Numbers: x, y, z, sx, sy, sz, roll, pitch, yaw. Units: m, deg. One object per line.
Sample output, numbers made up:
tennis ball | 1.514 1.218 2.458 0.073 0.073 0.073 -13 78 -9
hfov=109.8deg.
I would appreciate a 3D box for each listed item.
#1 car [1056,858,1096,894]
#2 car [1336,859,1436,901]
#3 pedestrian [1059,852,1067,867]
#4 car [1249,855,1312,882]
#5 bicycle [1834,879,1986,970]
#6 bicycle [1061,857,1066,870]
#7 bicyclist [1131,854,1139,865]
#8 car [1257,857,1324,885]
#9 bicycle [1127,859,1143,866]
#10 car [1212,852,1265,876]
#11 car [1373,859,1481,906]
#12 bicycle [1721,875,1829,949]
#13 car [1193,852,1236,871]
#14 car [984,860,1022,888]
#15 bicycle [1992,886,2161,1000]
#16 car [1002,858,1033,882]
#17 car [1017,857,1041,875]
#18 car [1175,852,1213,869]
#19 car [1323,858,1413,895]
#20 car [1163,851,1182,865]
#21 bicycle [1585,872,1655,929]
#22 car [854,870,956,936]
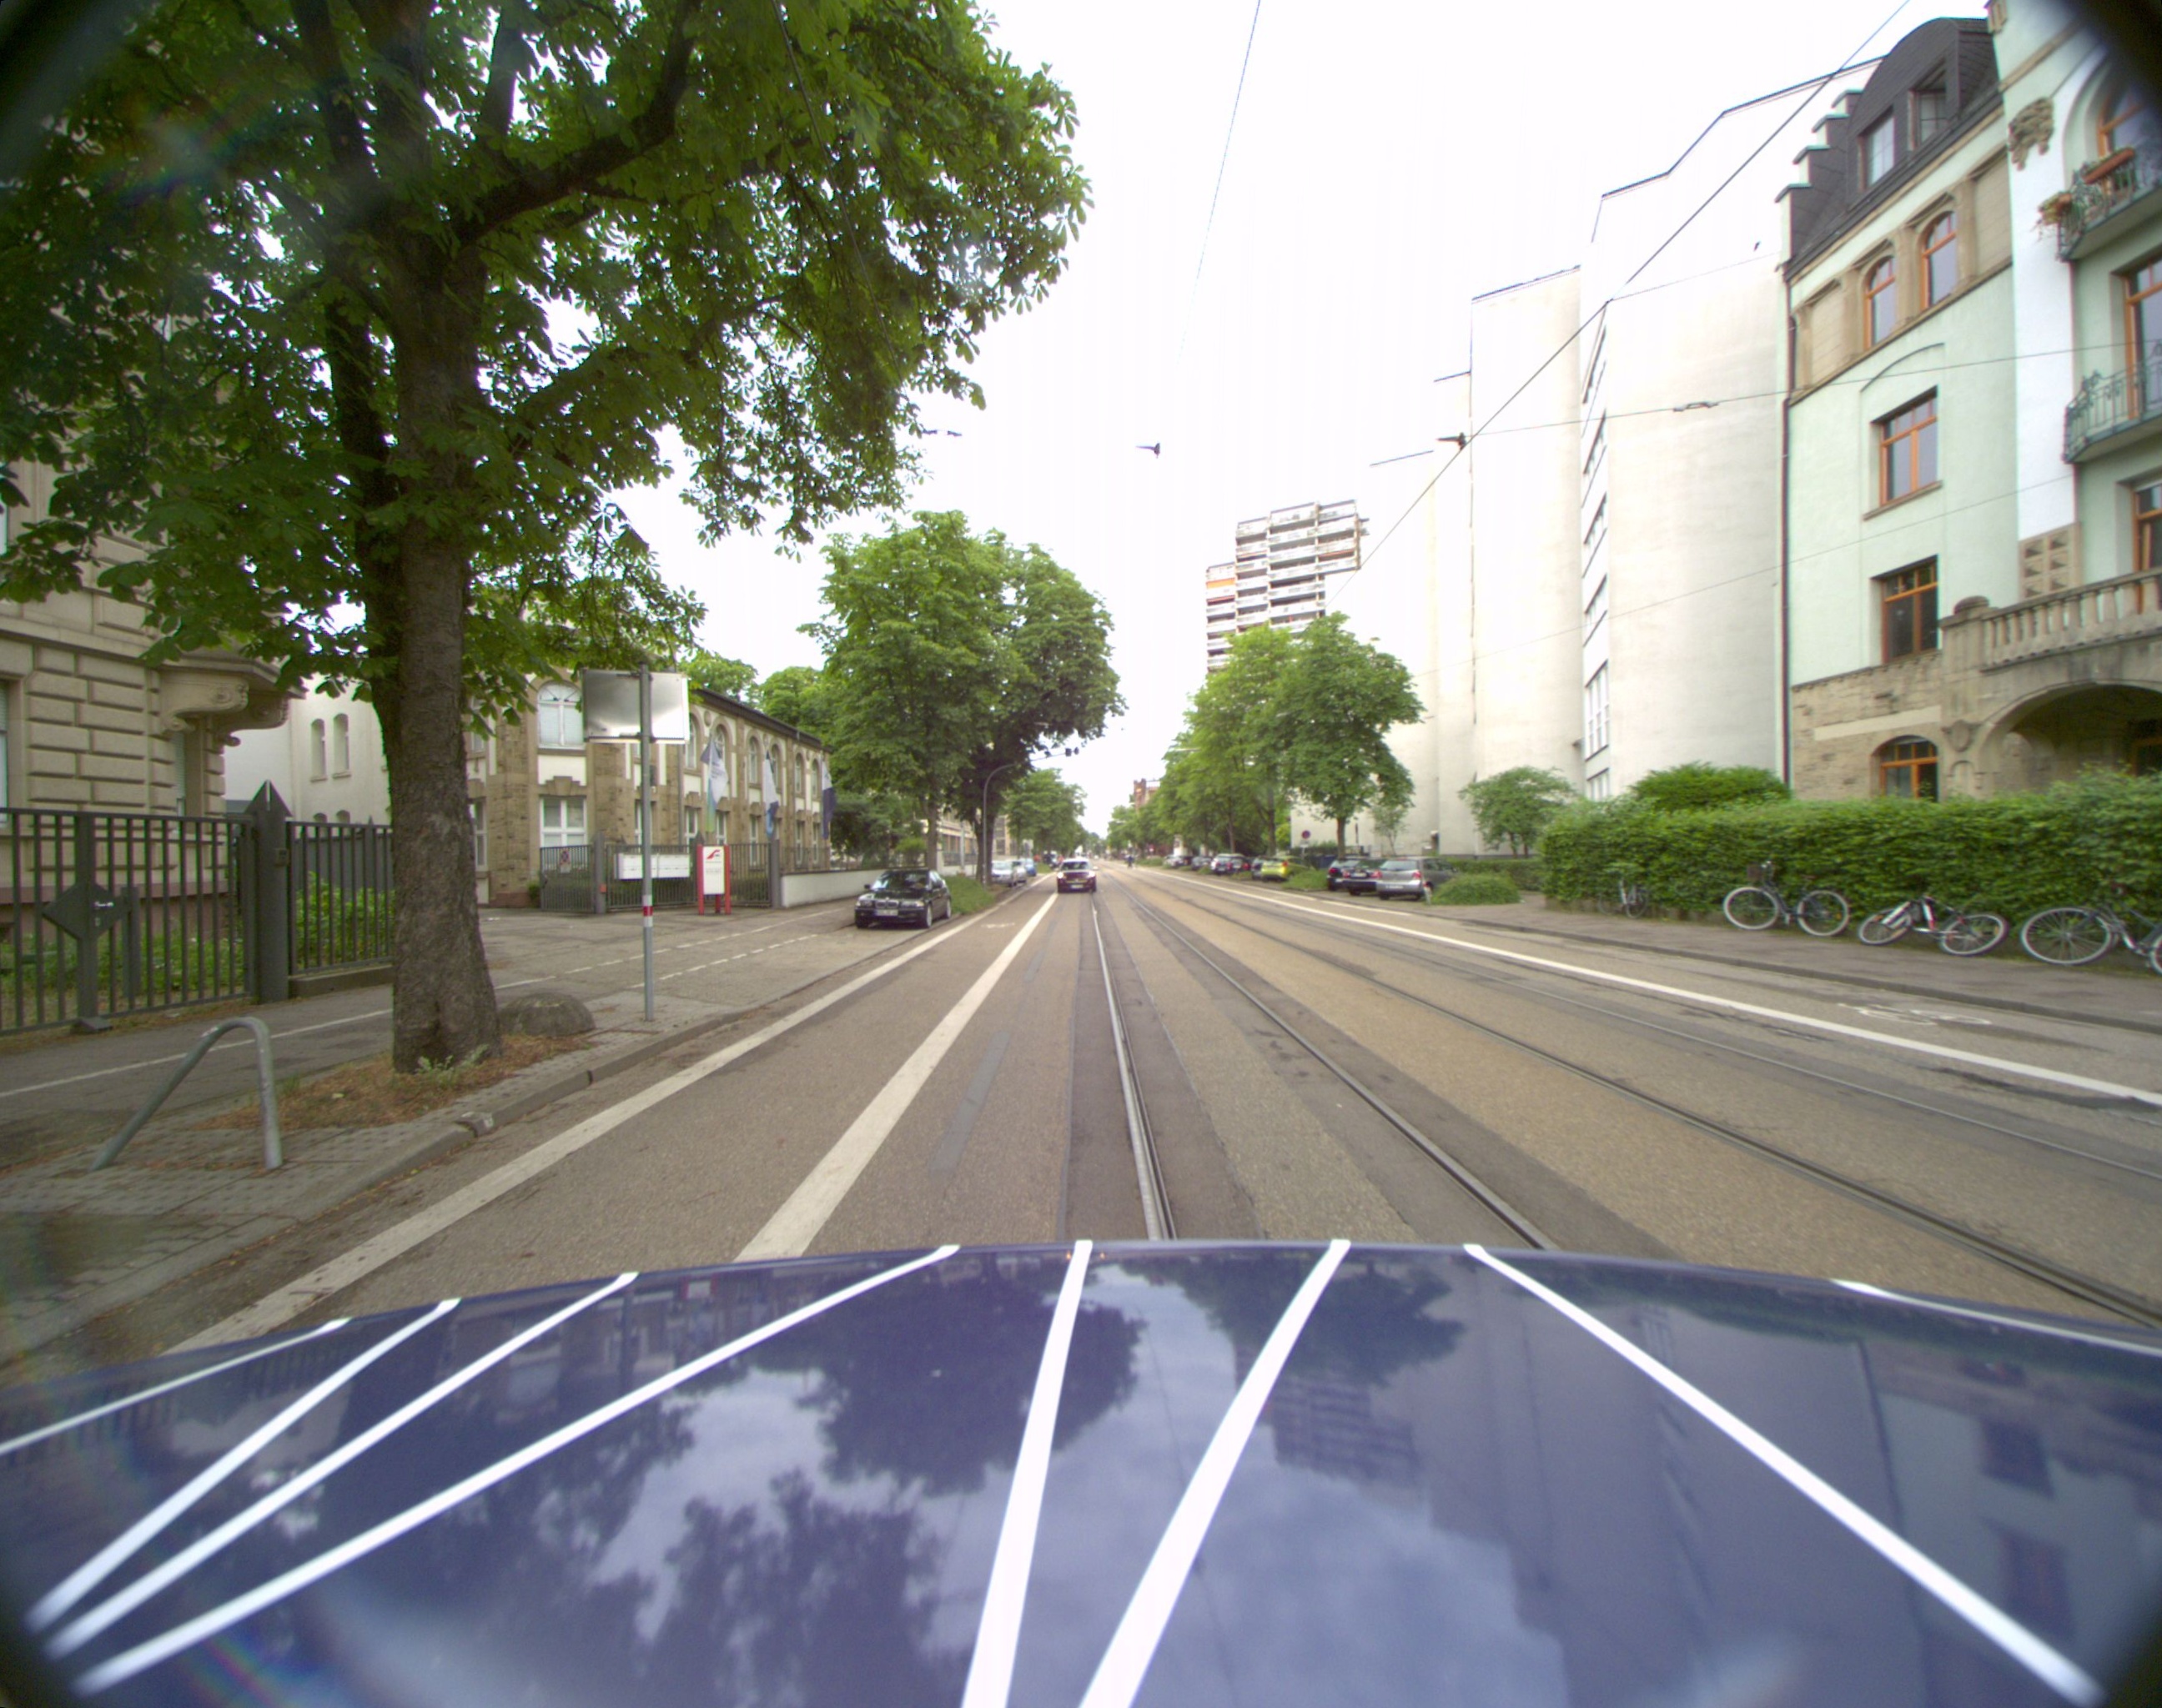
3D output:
car | -0.158 0.928 33.951 1.606 1.427 3.777 -2 0 2
car | 11.375 0.911 28.236 4.008 1.395 1.691 -1 0 -39
pedestrian | -1.760 0.538 74.606 0.684 1.541 0.704 -1 1 1
car | 11.760 0.815 44.622 4.008 1.434 1.690 -1 0 -43
bicycle | 11.098 0.903 10.244 0.360 1.077 1.546 -1 0 1
bicycle | -1.745 0.946 74.657 0.414 1.197 1.707 -1 0 1
bicyclist | 6.568 0.667 92.426 0.875 1.247 0.752 -1 1 -1
car | 11.510 0.890 41.575 4.008 1.387 1.690 -1 0 -43
bicycle | 6.606 1.021 92.406 1.889 0.784 0.568 -1 1 -1
car | 11.295 0.715 54.351 4.008 1.611 1.690 -1 0 -43
car | 11.585 0.902 25.343 4.008 1.395 1.691 -1 0 -39
bicycle | 11.202 0.901 12.325 0.360 1.077 1.546 -1 0 1
car | 11.897 0.694 67.761 4.008 1.611 1.690 -1 0 -43
car | -4.215 1.054 41.597 1.606 1.362 3.837 1 0 1
bicycle | 11.032 0.928 8.277 0.360 1.077 1.546 -1 0 1
car | -4.029 1.014 48.735 1.606 1.416 3.837 1 0 1
car | -4.159 0.942 61.250 1.606 1.362 3.837 1 0 1
car | 11.581 0.661 77.597 4.008 1.611 1.690 -1 0 -43
car | 11.890 0.893 31.398 4.008 1.395 1.691 -1 0 -39
car | 10.565 0.427 87.898 1.694 1.611 3.999 -1 0 -1
bicycle | 11.220 0.944 15.866 0.360 1.077 1.546 -1 0 1
car | -4.281 1.141 19.023 1.606 1.362 3.837 1 0 1
